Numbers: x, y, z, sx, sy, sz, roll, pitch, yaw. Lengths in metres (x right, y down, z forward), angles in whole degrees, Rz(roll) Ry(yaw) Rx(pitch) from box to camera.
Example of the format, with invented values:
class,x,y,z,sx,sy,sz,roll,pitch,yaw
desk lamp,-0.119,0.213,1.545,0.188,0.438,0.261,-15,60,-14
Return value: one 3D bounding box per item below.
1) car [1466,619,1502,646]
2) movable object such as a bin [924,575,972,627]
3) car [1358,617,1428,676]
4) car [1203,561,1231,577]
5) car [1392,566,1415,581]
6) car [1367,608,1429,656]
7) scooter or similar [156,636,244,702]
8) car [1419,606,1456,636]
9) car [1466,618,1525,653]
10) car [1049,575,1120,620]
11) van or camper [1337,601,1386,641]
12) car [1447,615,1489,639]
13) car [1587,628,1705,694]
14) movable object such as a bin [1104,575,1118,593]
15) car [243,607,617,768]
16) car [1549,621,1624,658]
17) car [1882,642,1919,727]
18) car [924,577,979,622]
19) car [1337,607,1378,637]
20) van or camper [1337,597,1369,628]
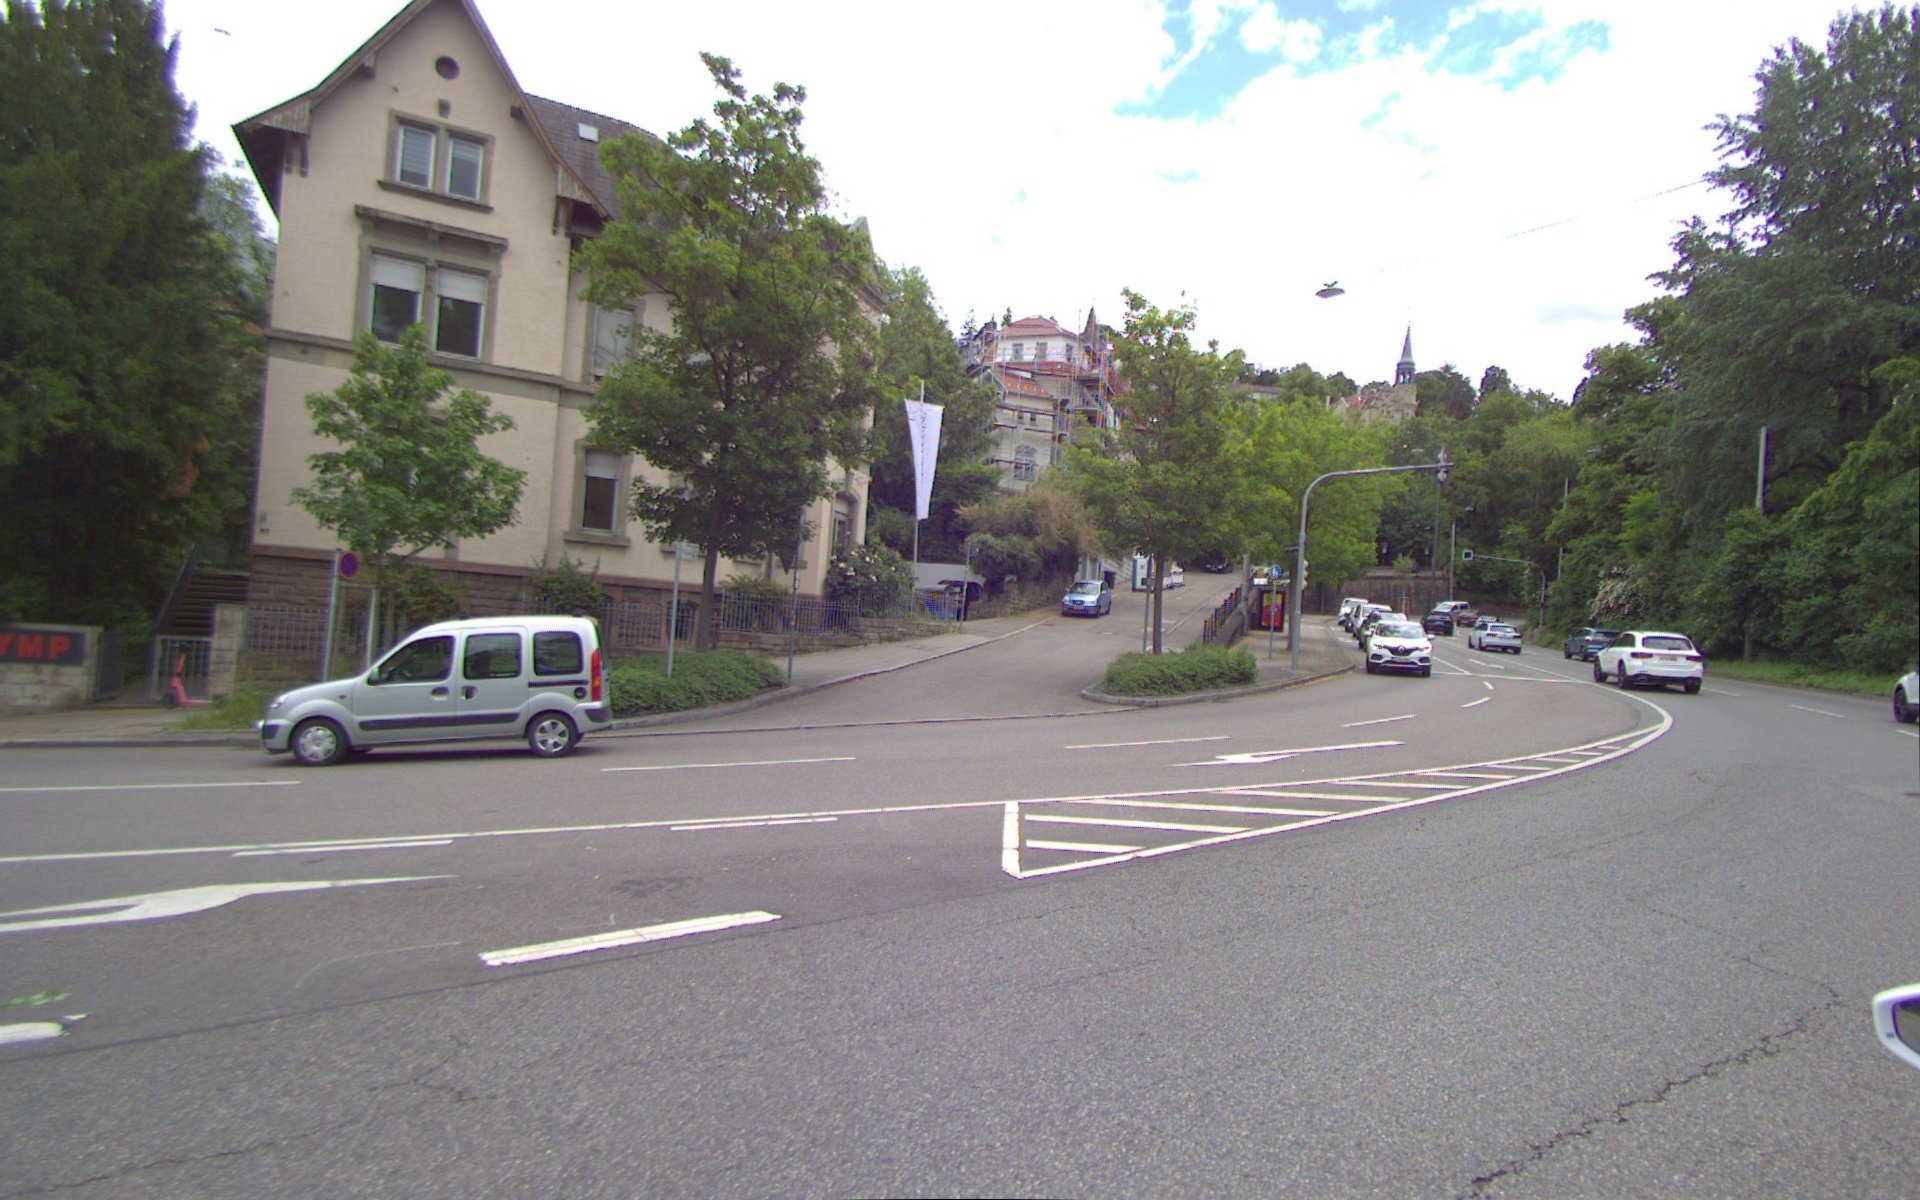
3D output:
class,x,y,z,sx,sy,sz,roll,pitch,yaw
car,41.811,2.579,80.094,1.968,2.040,3.985,0,-1,37
movable object such as a bin,-0.424,0.038,35.535,1.199,1.706,0.994,8,3,34
car,13.634,1.395,31.476,1.866,1.676,4.372,1,-1,25
car,22.992,-2.738,89.681,1.528,1.296,3.592,2,0,30
car,49.807,-3.039,112.672,1.964,1.506,3.992,3,5,29
car,17.709,1.272,40.823,1.864,1.815,4.760,1,-1,18
scooter or similar,-14.208,1.284,18.796,1.184,1.175,0.552,-2,-1,-2
car,34.539,1.537,72.609,2.157,2.040,3.993,1,-1,30
car,27.173,1.753,51.097,2.212,1.539,4.305,3,1,23
car,5.426,-0.167,43.303,1.962,1.595,3.997,5,5,22
van or camper,21.729,1.104,54.527,1.960,1.921,5.458,4,1,18
car,44.570,2.365,88.070,3.970,2.040,1.975,2,-1,-42
car,19.913,1.713,29.361,1.846,1.674,4.341,2,-1,21
movable object such as a bin,8.900,-0.949,59.179,0.792,1.056,0.839,0,0,13
car,-6.615,1.053,13.082,3.974,1.855,1.911,1,-1,-18
car,29.285,1.809,47.097,1.829,1.653,3.961,1,-1,14
car,19.356,1.672,19.005,1.836,1.577,3.889,1,0,28
car,-0.312,-0.084,44.214,1.959,1.796,4.001,1,2,6
car,23.826,1.292,60.379,1.960,1.541,3.991,5,1,18
van or camper,28.811,0.900,73.713,1.961,2.040,5.561,4,1,20
